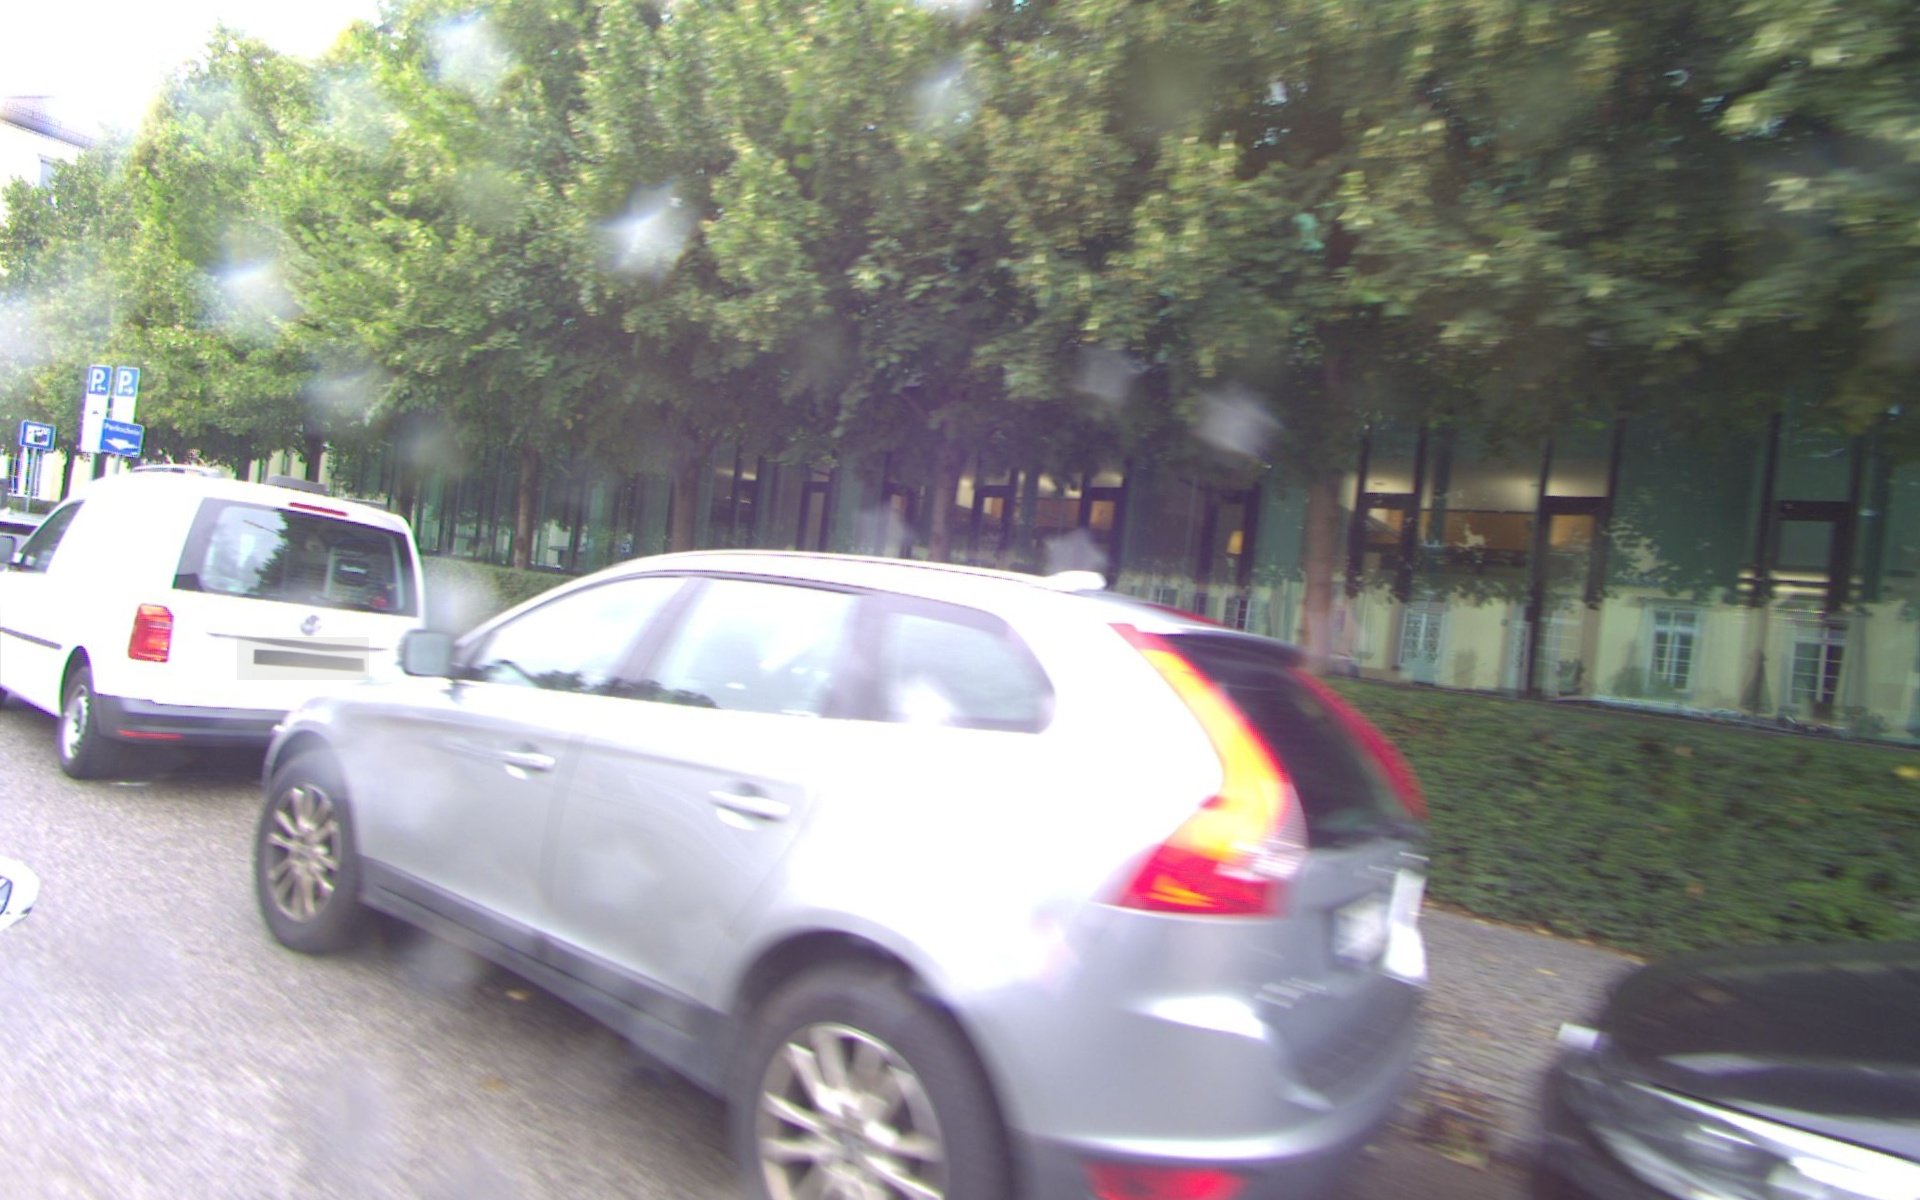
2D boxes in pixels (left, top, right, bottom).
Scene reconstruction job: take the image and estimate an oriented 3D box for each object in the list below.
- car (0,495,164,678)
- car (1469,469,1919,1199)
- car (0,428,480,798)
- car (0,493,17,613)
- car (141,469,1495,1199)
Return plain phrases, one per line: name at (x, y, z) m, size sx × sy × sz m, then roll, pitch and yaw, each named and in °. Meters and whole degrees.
car at (-10.436, -0.342, 10.419) m, size 4.925 × 1.570 × 1.949 m, roll 6°, pitch -2°, yaw 34°
car at (3.116, 0.991, 1.268) m, size 4.276 × 1.829 × 1.813 m, roll 7°, pitch -2°, yaw 32°
car at (-5.607, -0.038, 7.224) m, size 4.503 × 1.917 × 1.786 m, roll 6°, pitch -2°, yaw 36°
car at (-15.029, -0.922, 13.916) m, size 4.775 × 1.570 × 1.964 m, roll 6°, pitch -2°, yaw 37°
car at (-0.890, 0.611, 3.664) m, size 4.709 × 1.711 × 1.870 m, roll 6°, pitch -2°, yaw 35°
